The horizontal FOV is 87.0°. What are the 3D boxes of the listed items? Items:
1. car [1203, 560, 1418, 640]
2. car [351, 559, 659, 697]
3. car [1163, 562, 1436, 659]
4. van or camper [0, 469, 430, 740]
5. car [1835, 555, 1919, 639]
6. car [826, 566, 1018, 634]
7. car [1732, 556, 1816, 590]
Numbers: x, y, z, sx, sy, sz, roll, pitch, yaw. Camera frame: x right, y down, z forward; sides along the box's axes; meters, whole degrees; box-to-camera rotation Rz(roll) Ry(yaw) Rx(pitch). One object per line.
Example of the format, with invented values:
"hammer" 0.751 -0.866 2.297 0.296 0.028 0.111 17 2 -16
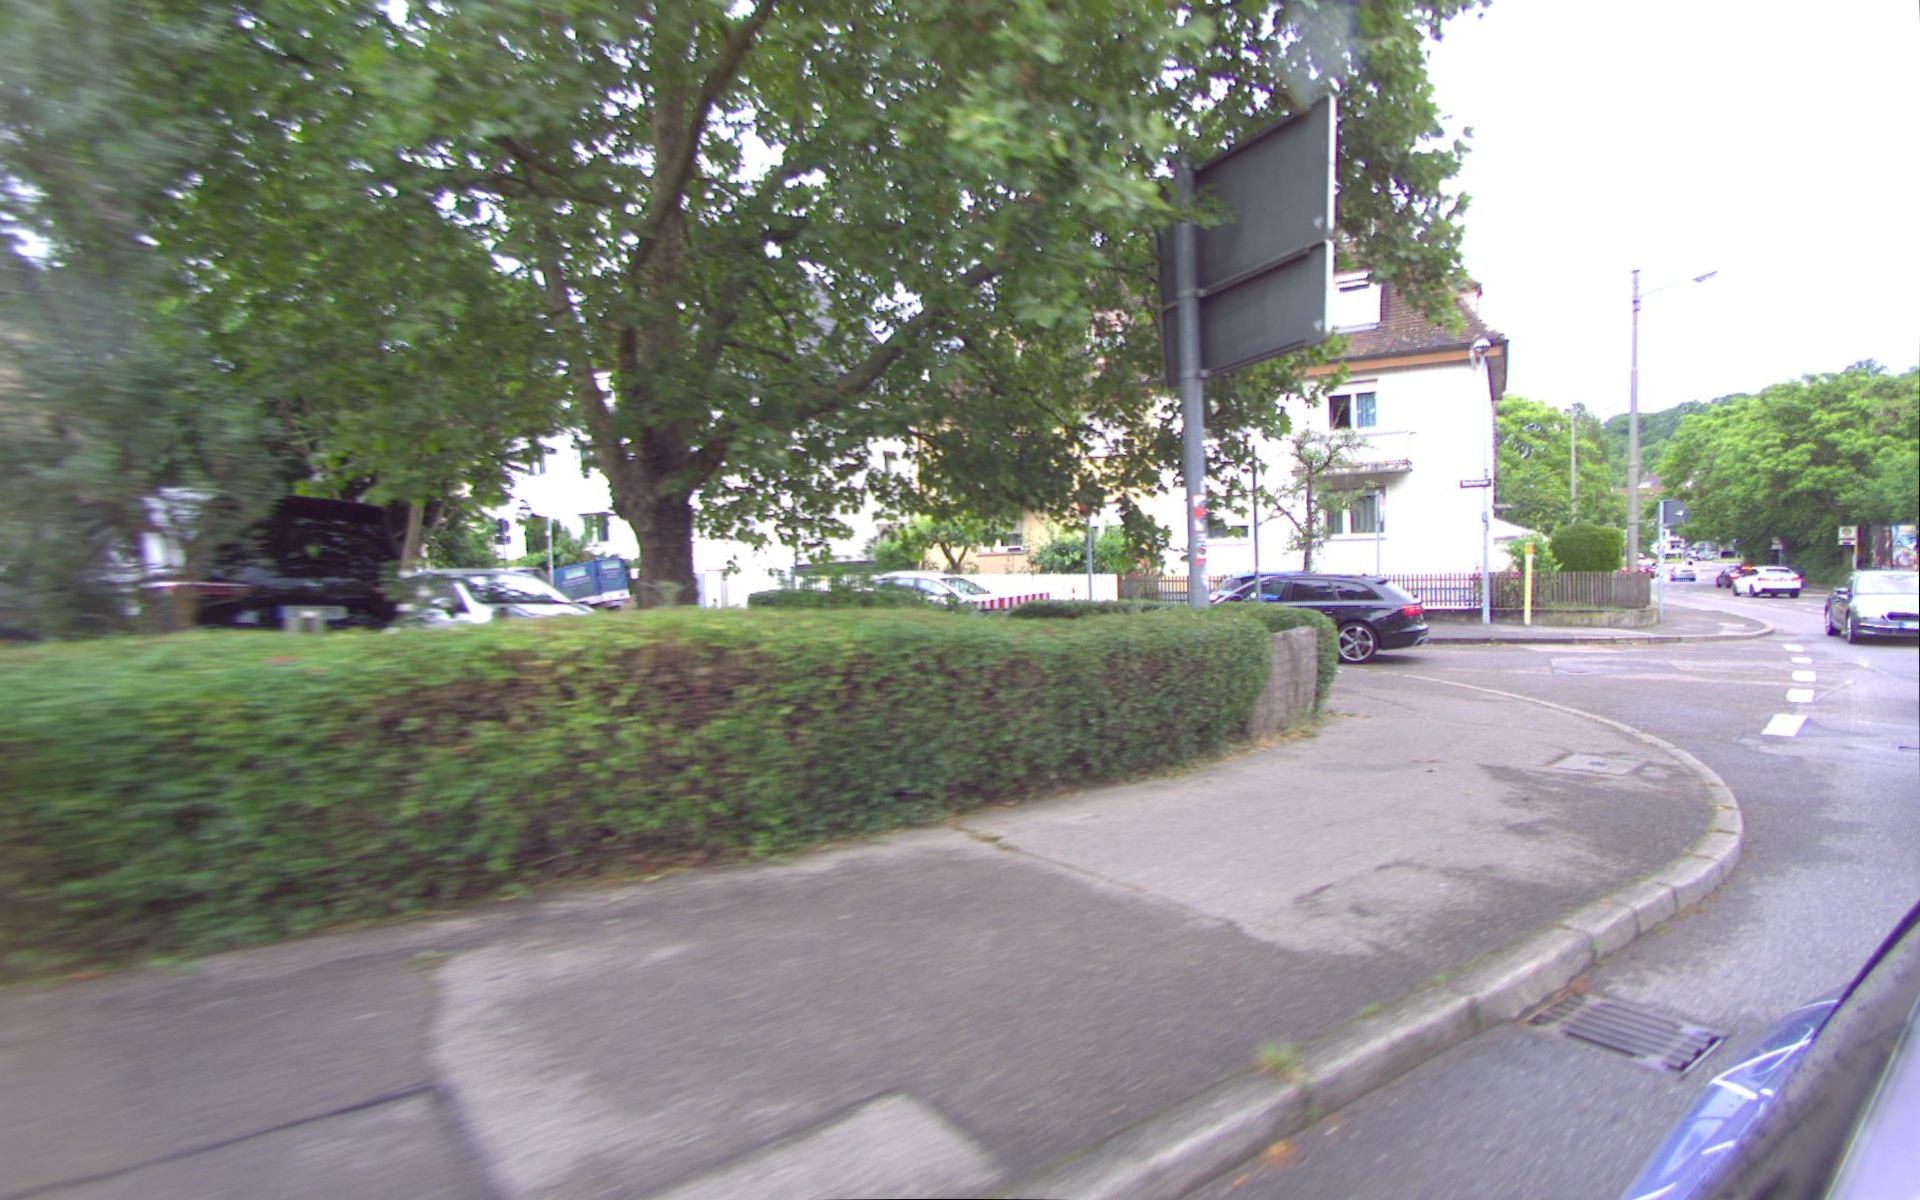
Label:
"car" 7.140 -0.056 20.633 3.959 1.482 1.845 1 2 26
"car" -5.877 0.265 12.924 3.978 1.482 1.973 0 1 38
"car" 5.969 0.134 17.806 4.349 1.532 1.982 0 1 27
"van or camper" -7.052 0.005 9.076 4.286 1.927 1.982 0 1 27
"car" 19.157 -0.104 20.555 1.697 1.577 3.950 0 1 35
"car" -0.958 -0.040 24.866 4.355 1.532 1.979 0 1 30
"car" 39.655 -1.314 49.453 1.822 1.577 5.528 0 1 24
